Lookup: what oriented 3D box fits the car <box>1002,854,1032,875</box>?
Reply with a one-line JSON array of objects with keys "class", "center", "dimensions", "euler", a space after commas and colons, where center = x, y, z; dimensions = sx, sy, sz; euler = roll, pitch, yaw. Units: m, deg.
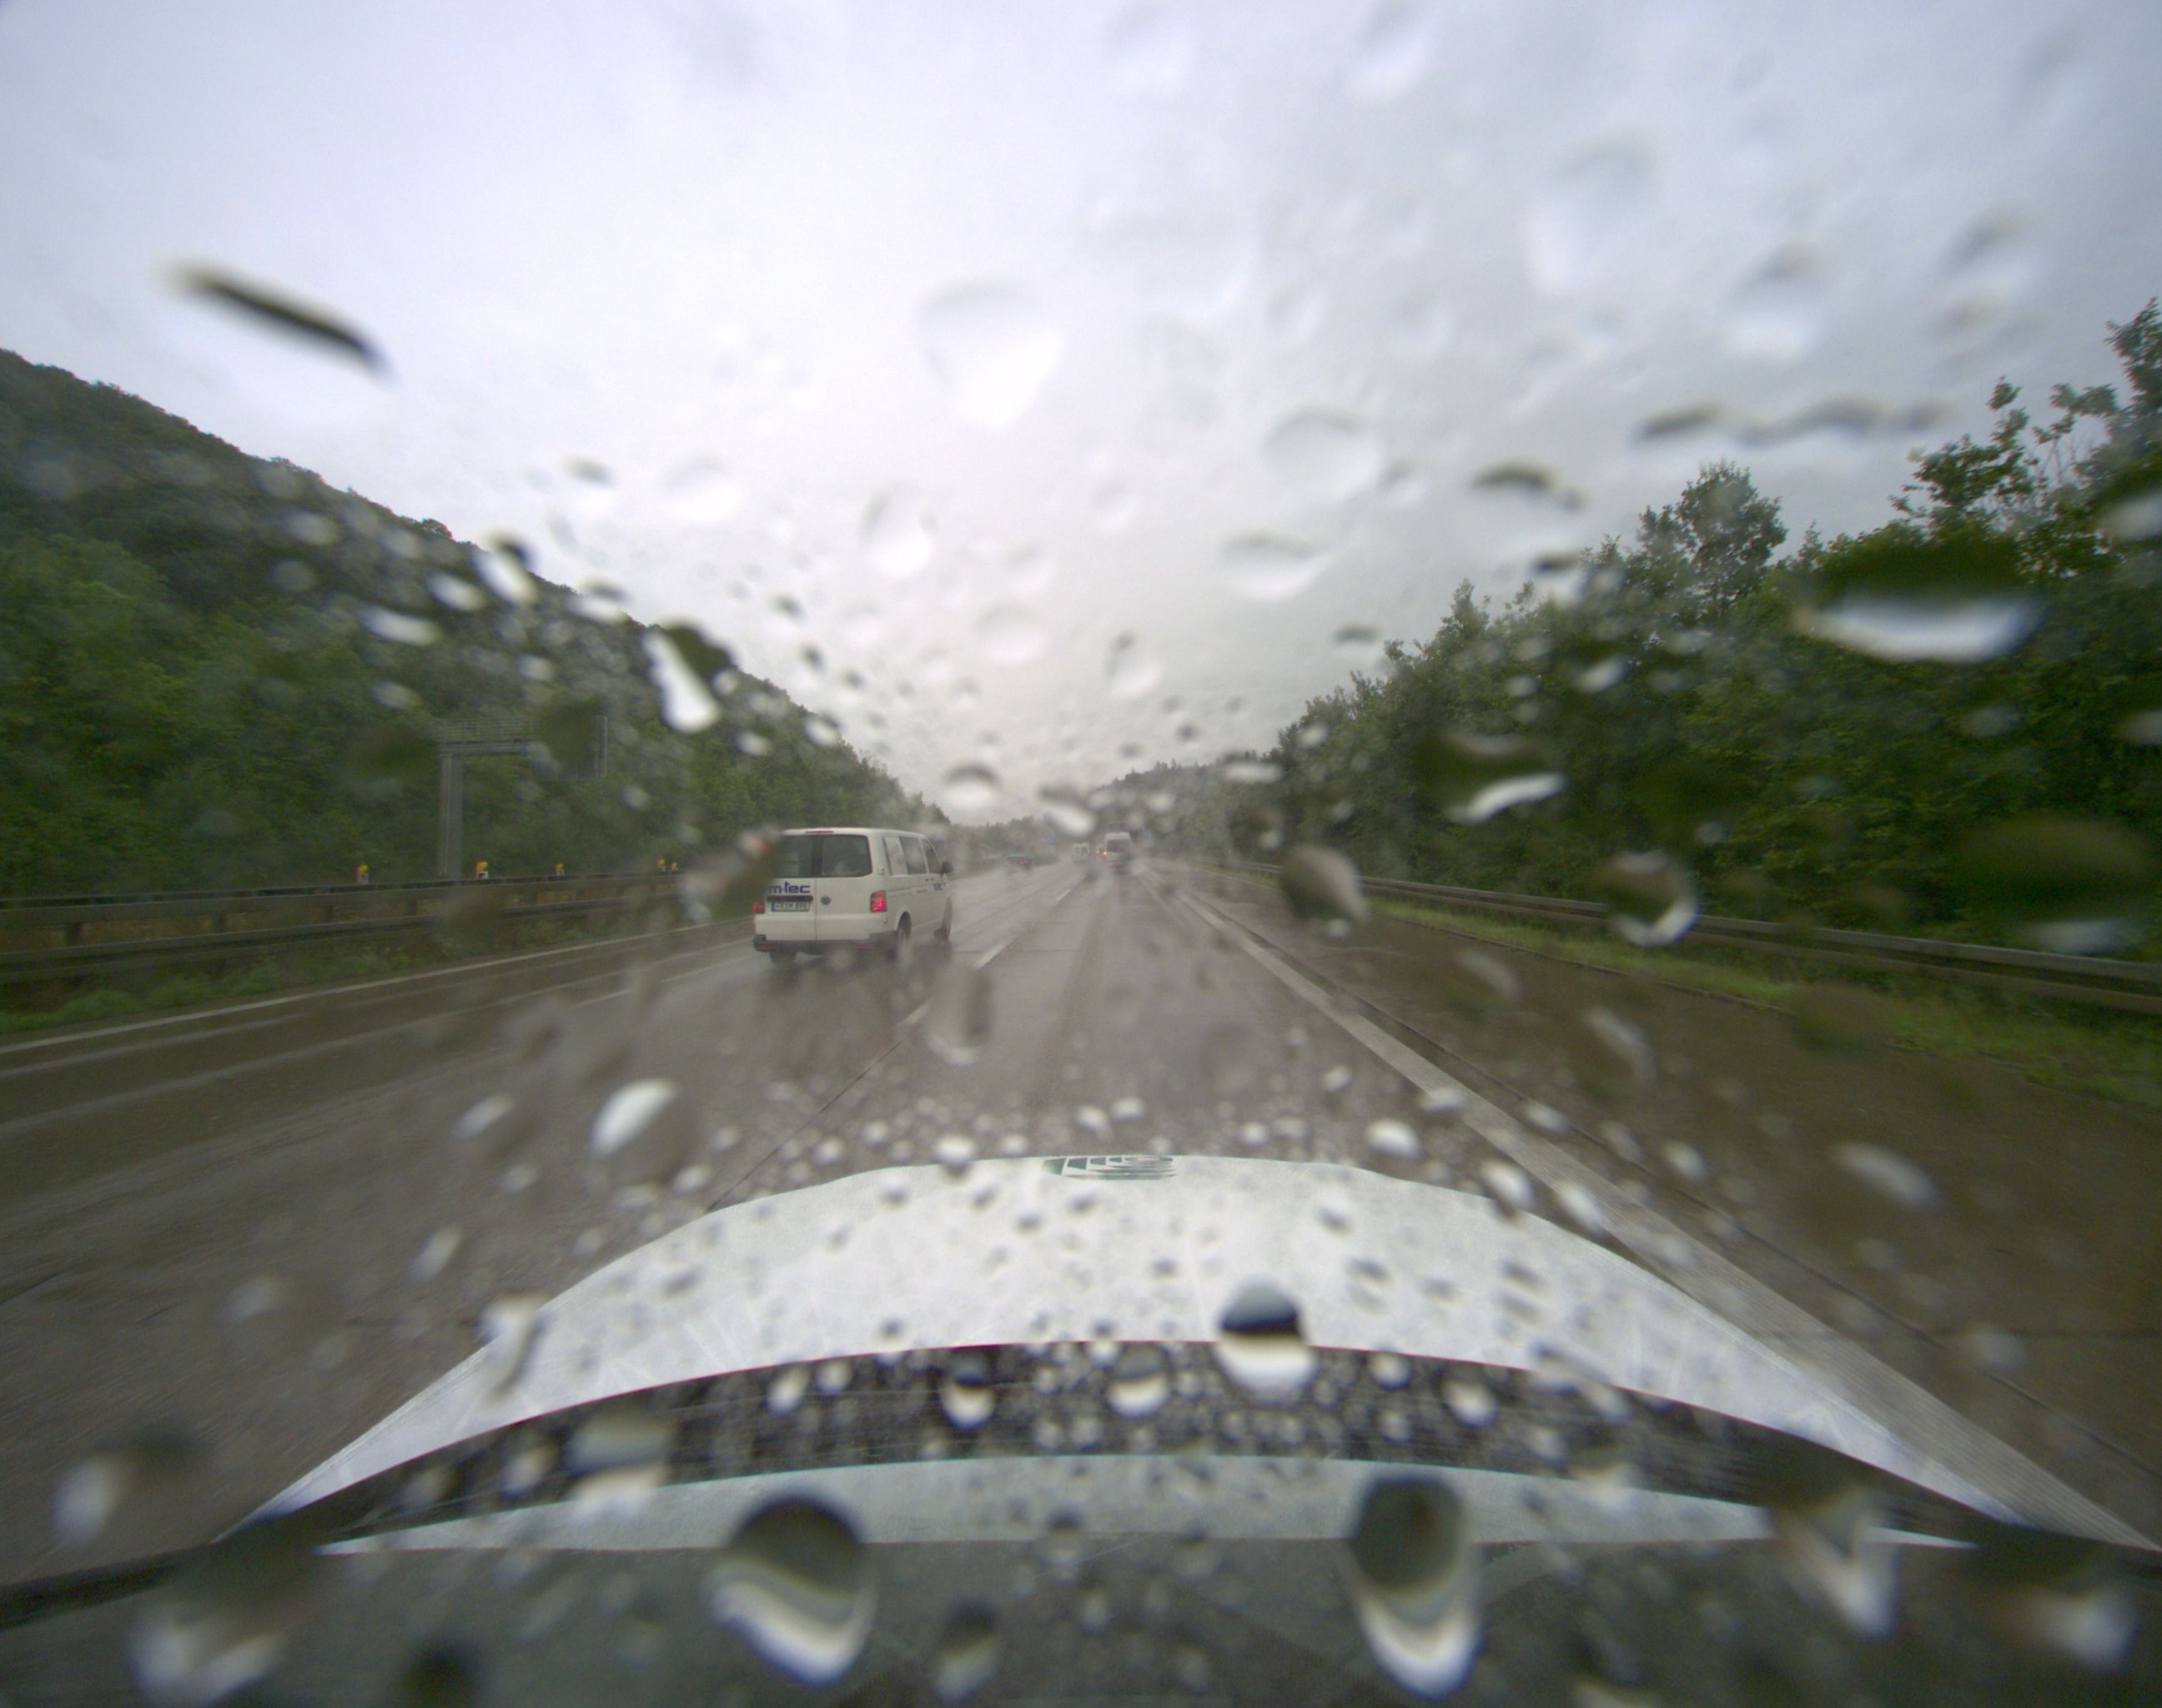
[{"class": "car", "center": [-4.578, 0.746, 58.429], "dimensions": [1.735, 1.388, 4.322], "euler": [-1, 0, 1]}]

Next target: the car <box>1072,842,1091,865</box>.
[{"class": "car", "center": [0.069, -0.028, 90.867], "dimensions": [1.991, 2.432, 5.792], "euler": [1, 0, 1]}]

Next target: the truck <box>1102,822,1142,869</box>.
[{"class": "truck", "center": [3.725, -0.902, 75.933], "dimensions": [3.372, 3.967, 8.671], "euler": [-2, 2, 2]}]

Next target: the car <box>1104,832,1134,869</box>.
[{"class": "car", "center": [2.527, -0.250, 55.299], "dimensions": [1.893, 2.334, 5.251], "euler": [1, 0, 1]}]

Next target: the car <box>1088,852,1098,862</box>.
[{"class": "car", "center": [2.348, 0.554, 158.589], "dimensions": [1.862, 1.810, 4.189], "euler": [1, 0, 1]}]

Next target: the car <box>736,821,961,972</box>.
[{"class": "car", "center": [-3.328, 0.535, 12.867], "dimensions": [1.892, 1.894, 5.046], "euler": [-1, 0, 2]}]
